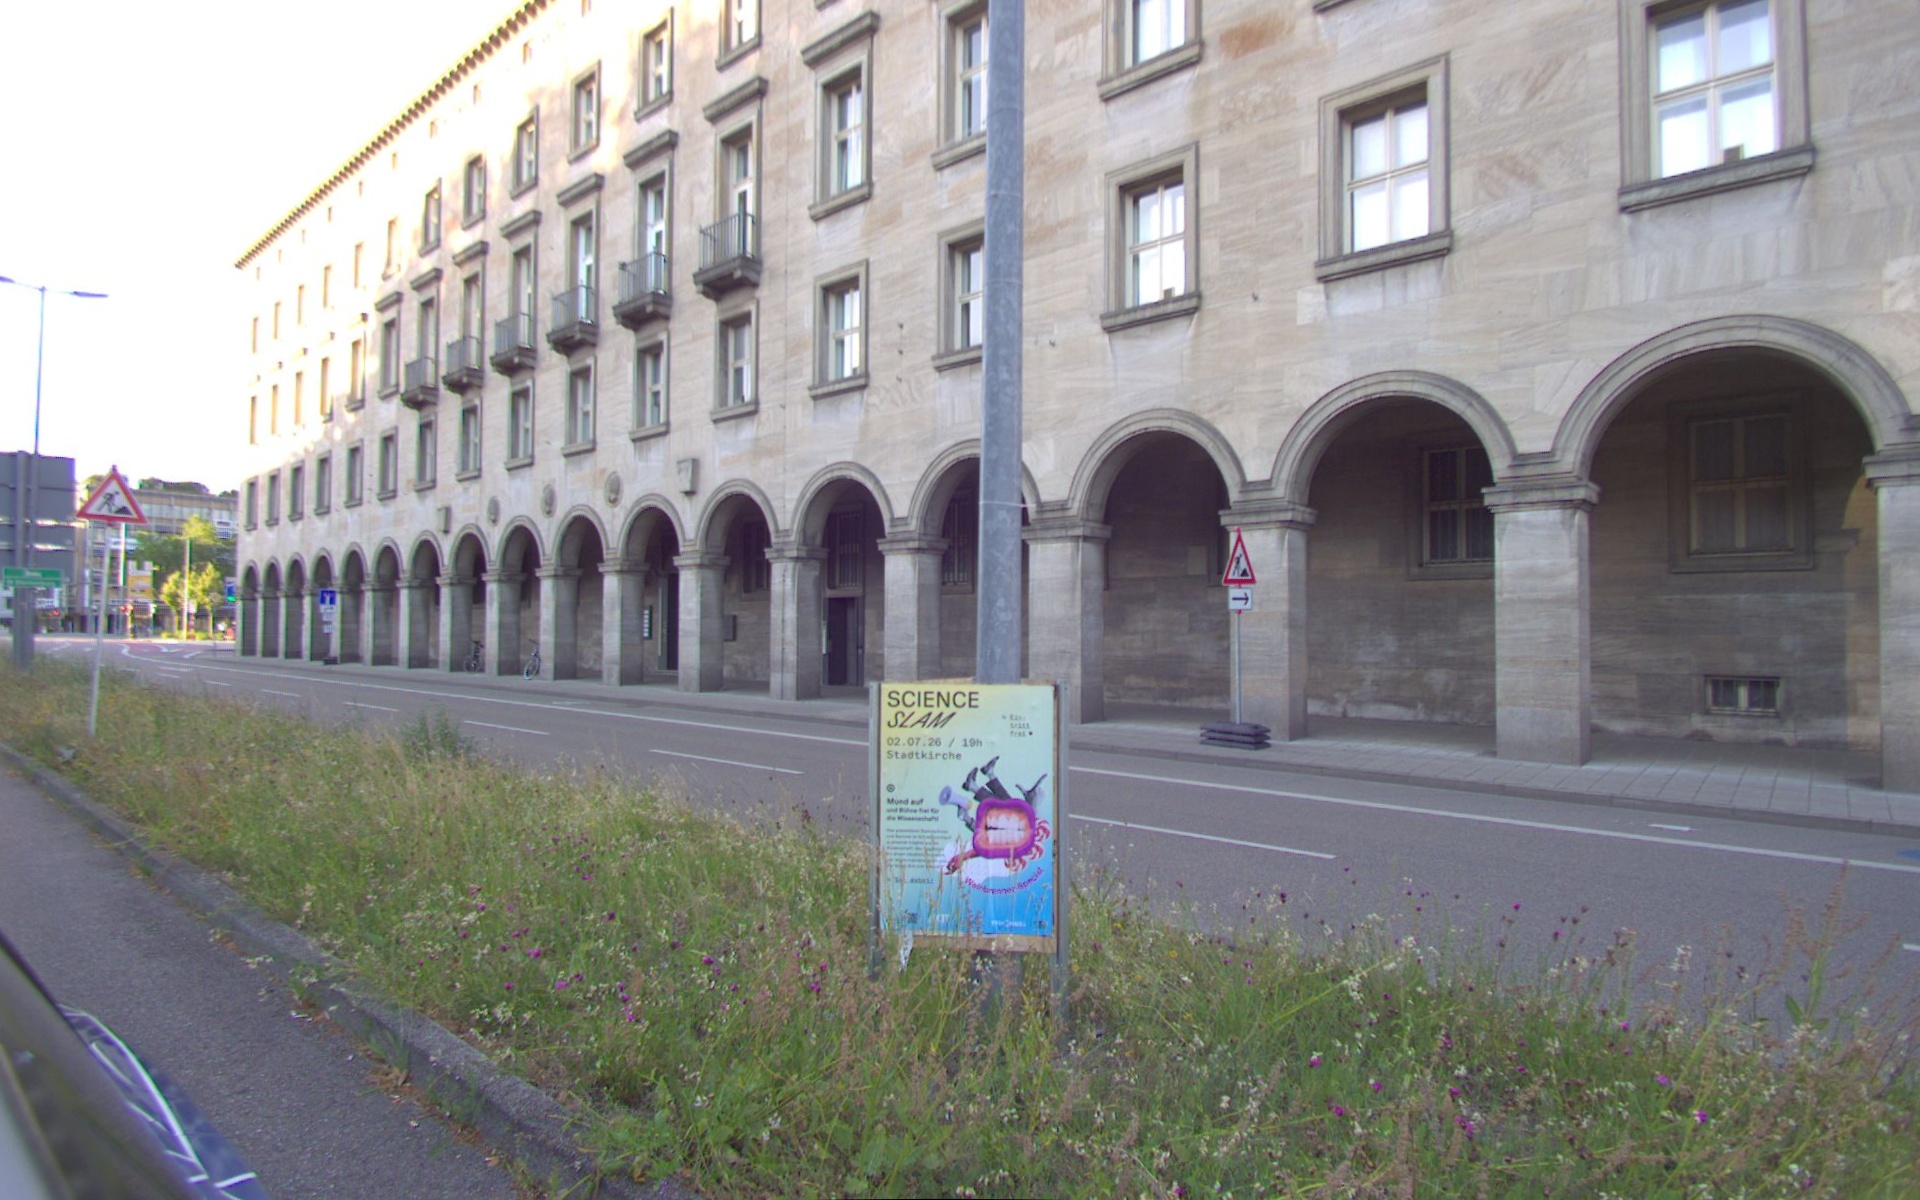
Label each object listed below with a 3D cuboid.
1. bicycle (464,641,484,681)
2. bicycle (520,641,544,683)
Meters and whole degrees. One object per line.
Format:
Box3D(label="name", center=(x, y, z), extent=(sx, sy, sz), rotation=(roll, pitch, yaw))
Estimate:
Box3D(label="bicycle", center=(-15.387, 1.907, 32.076), extent=(0.505, 1.188, 2.431), rotation=(1, -2, -25))
Box3D(label="bicycle", center=(-12.789, 1.832, 30.295), extent=(0.505, 1.130, 2.431), rotation=(1, -1, -20))
